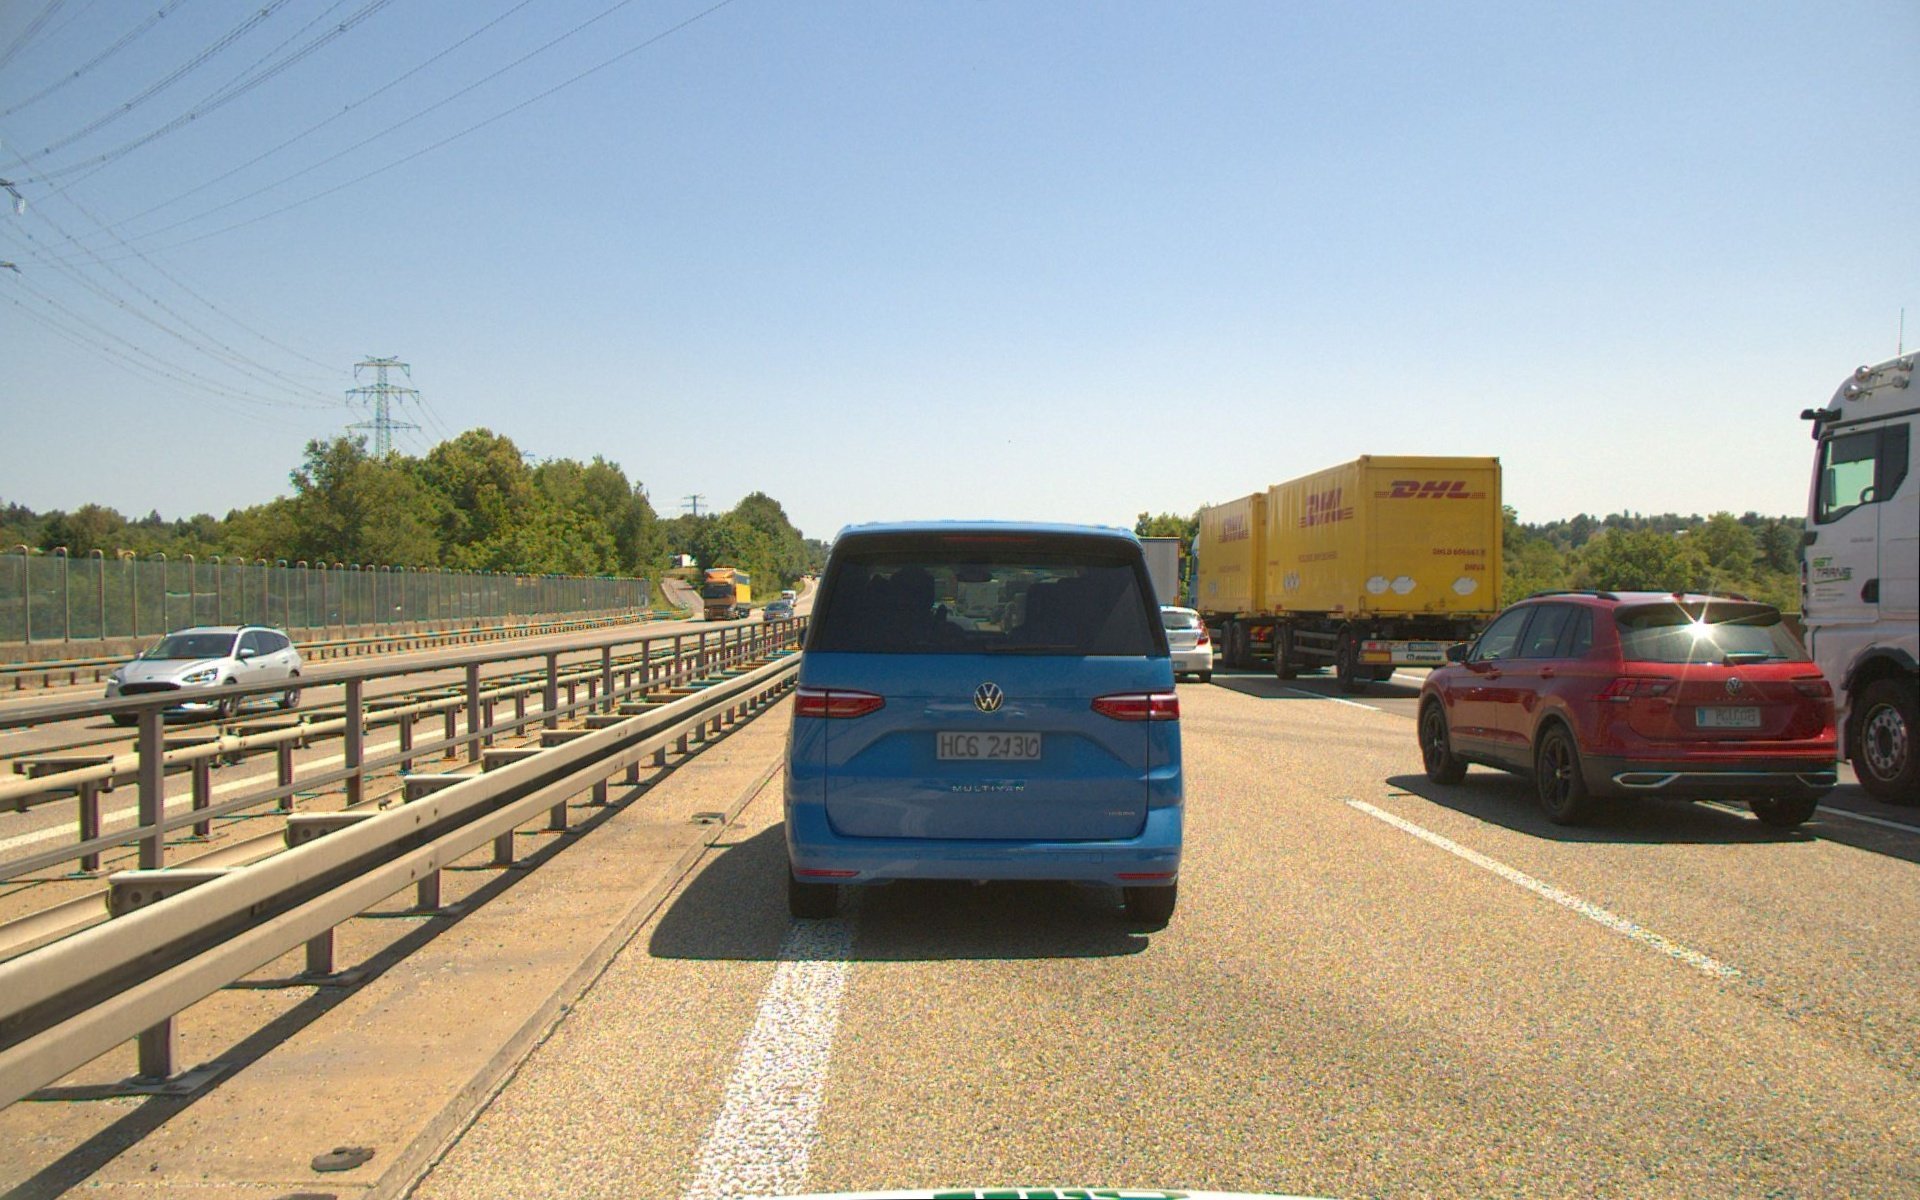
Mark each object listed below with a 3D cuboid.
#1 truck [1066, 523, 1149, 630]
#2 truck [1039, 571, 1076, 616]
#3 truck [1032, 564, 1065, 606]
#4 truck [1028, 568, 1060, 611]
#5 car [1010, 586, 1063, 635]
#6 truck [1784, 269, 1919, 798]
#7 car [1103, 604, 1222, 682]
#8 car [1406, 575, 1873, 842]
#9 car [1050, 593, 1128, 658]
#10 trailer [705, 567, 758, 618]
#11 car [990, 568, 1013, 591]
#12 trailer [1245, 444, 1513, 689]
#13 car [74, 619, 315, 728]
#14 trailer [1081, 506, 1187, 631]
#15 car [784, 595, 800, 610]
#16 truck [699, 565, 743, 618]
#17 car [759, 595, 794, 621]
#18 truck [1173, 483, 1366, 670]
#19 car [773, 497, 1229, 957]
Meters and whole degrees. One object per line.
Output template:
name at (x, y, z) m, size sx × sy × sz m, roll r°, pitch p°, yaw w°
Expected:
truck at (6.811, -1.001, 77.481) m, size 2.965 × 4.692 × 7.919 m, roll 1°, pitch -1°, yaw -1°
truck at (5.593, -0.367, 95.089) m, size 1.761 × 2.492 × 4.503 m, roll 1°, pitch -1°, yaw -1°
truck at (5.789, -0.951, 108.514) m, size 1.760 × 2.641 × 4.304 m, roll 1°, pitch -1°, yaw -1°
truck at (5.265, -0.643, 103.976) m, size 1.706 × 2.593 × 4.209 m, roll 1°, pitch -1°, yaw -1°
car at (3.191, 0.465, 69.557) m, size 1.922 × 1.970 × 3.931 m, roll 1°, pitch -1°, yaw -1°
truck at (8.745, -0.524, 9.154) m, size 2.794 × 4.003 × 10.605 m, roll 1°, pitch -1°, yaw -2°
car at (4.116, 0.860, 34.232) m, size 1.779 × 1.496 × 3.929 m, roll 1°, pitch -1°, yaw -3°
car at (4.985, 0.725, 12.855) m, size 1.674 × 1.708 × 4.282 m, roll 0°, pitch -1°, yaw -3°
car at (3.576, 0.704, 46.377) m, size 1.778 × 1.708 × 3.931 m, roll 1°, pitch -1°, yaw -1°
trailer at (-19.644, -0.549, 143.124) m, size 2.574 × 4.186 × 14.015 m, roll 0°, pitch -1°, yaw 0°
car at (4.004, -1.951, 160.098) m, size 1.953 × 2.049 × 3.999 m, roll 1°, pitch -1°, yaw -1°
trailer at (7.978, -0.522, 32.867) m, size 2.629 × 4.159 × 8.975 m, roll 1°, pitch -1°, yaw -3°
car at (-12.461, 1.133, 27.279) m, size 1.953 × 1.571 × 4.384 m, roll -2°, pitch 0°, yaw -1°
trailer at (6.972, -1.133, 68.058) m, size 2.965 × 4.692 × 10.922 m, roll 1°, pitch -1°, yaw -1°
car at (-24.005, 0.425, 236.358) m, size 1.805 × 2.077 × 3.942 m, roll 1°, pitch -1°, yaw -1°
truck at (-19.681, -0.652, 136.360) m, size 2.617 × 4.258 × 6.287 m, roll 0°, pitch -1°, yaw 1°
car at (-11.451, 0.496, 103.623) m, size 1.726 × 1.534 × 4.222 m, roll -1°, pitch 0°, yaw -1°
truck at (7.620, -0.477, 42.243) m, size 2.645 × 4.159 × 9.934 m, roll 1°, pitch -1°, yaw -2°
car at (0.132, 0.559, 8.972) m, size 1.891 × 1.906 × 3.999 m, roll 1°, pitch -1°, yaw -1°
